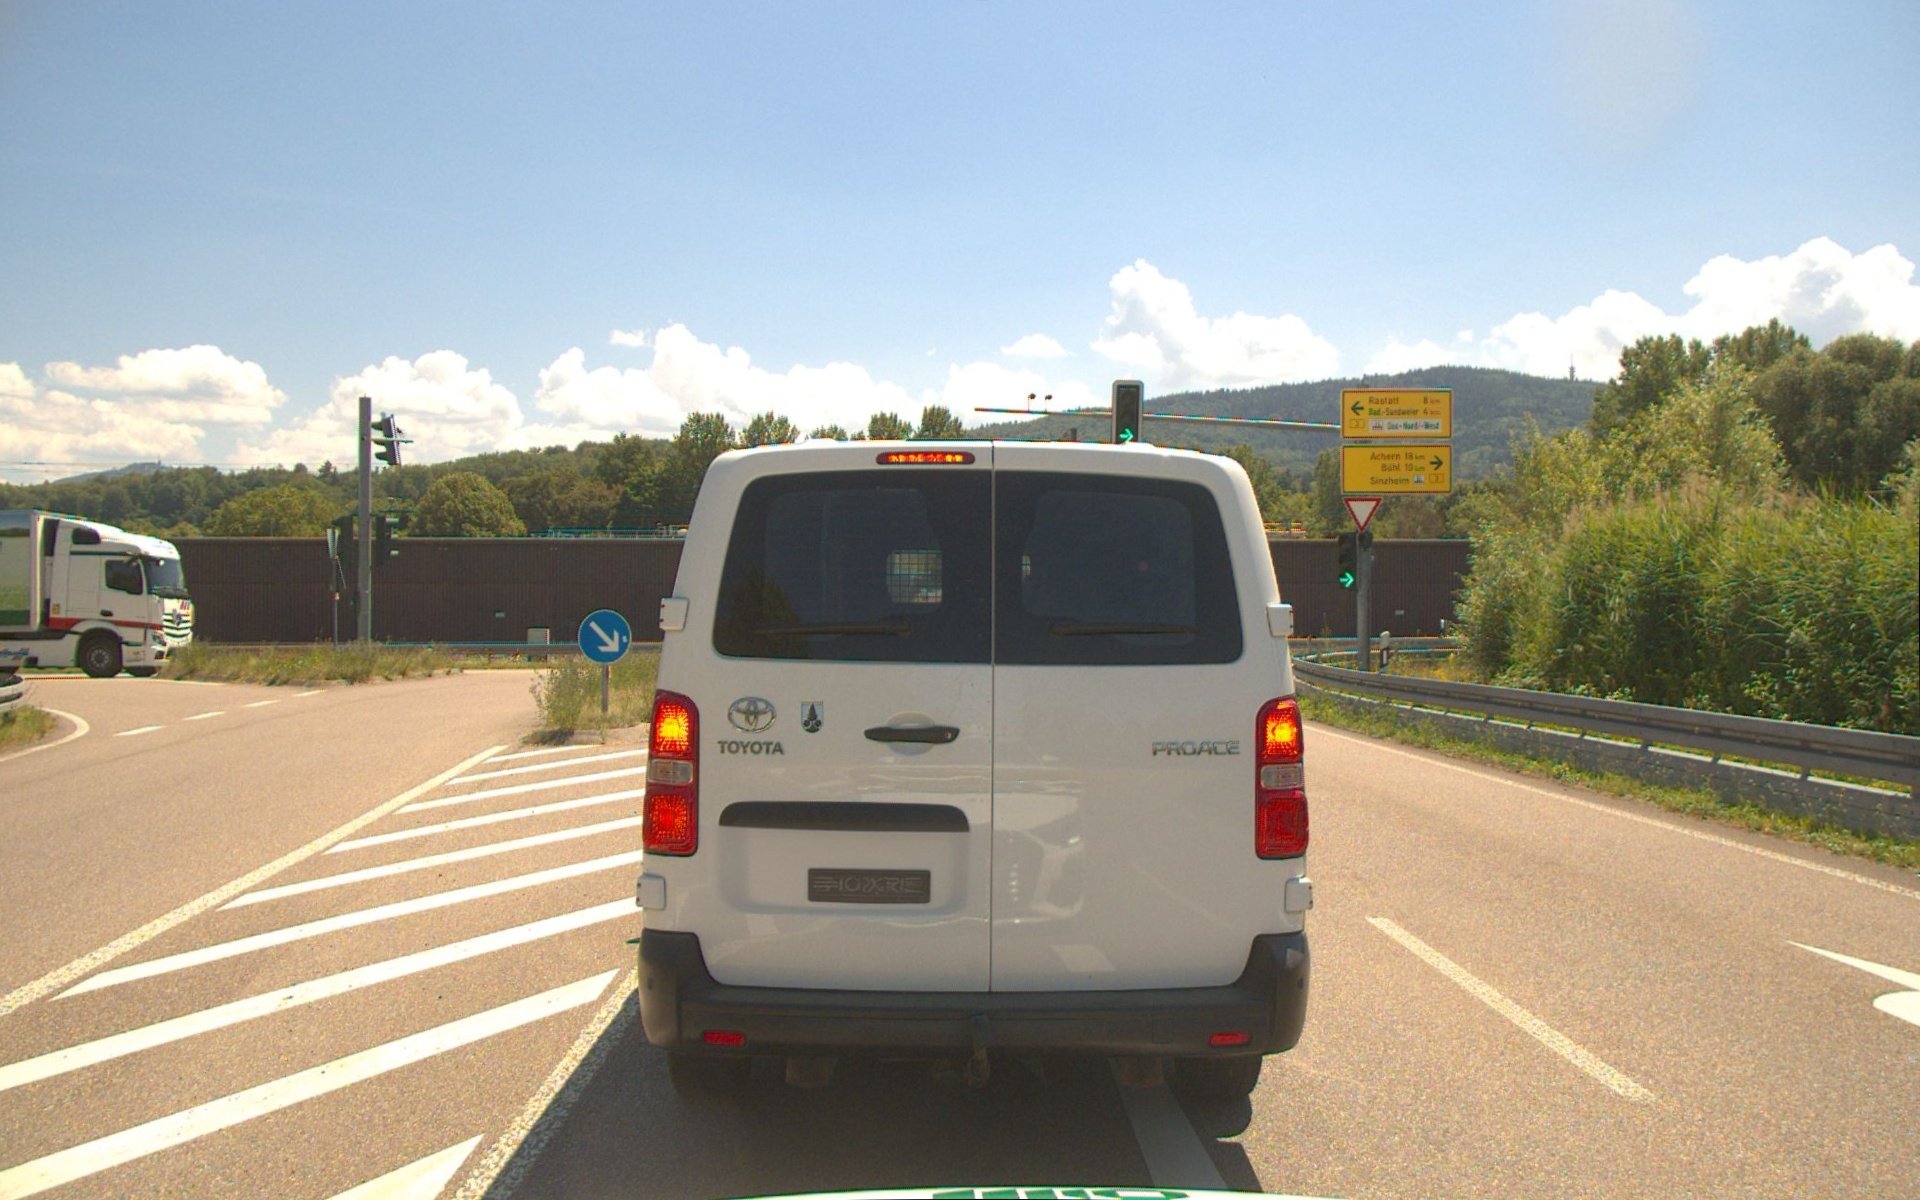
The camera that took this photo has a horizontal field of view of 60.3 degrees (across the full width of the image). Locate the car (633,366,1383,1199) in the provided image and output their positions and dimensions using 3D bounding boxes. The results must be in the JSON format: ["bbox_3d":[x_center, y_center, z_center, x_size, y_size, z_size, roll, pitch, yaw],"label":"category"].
[{"bbox_3d":[0.089,0.485,5.934,1.778,2.053,3.999,0,0,-1],"label":"car"}]

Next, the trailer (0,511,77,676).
[{"bbox_3d":[-29.508,-0.171,41.456,12.877,4.024,3.060,0,-1,-3],"label":"trailer"}]

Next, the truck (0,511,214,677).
[{"bbox_3d":[-22.379,-0.131,41.794,5.649,4.024,3.061,0,-1,-3],"label":"truck"}]
